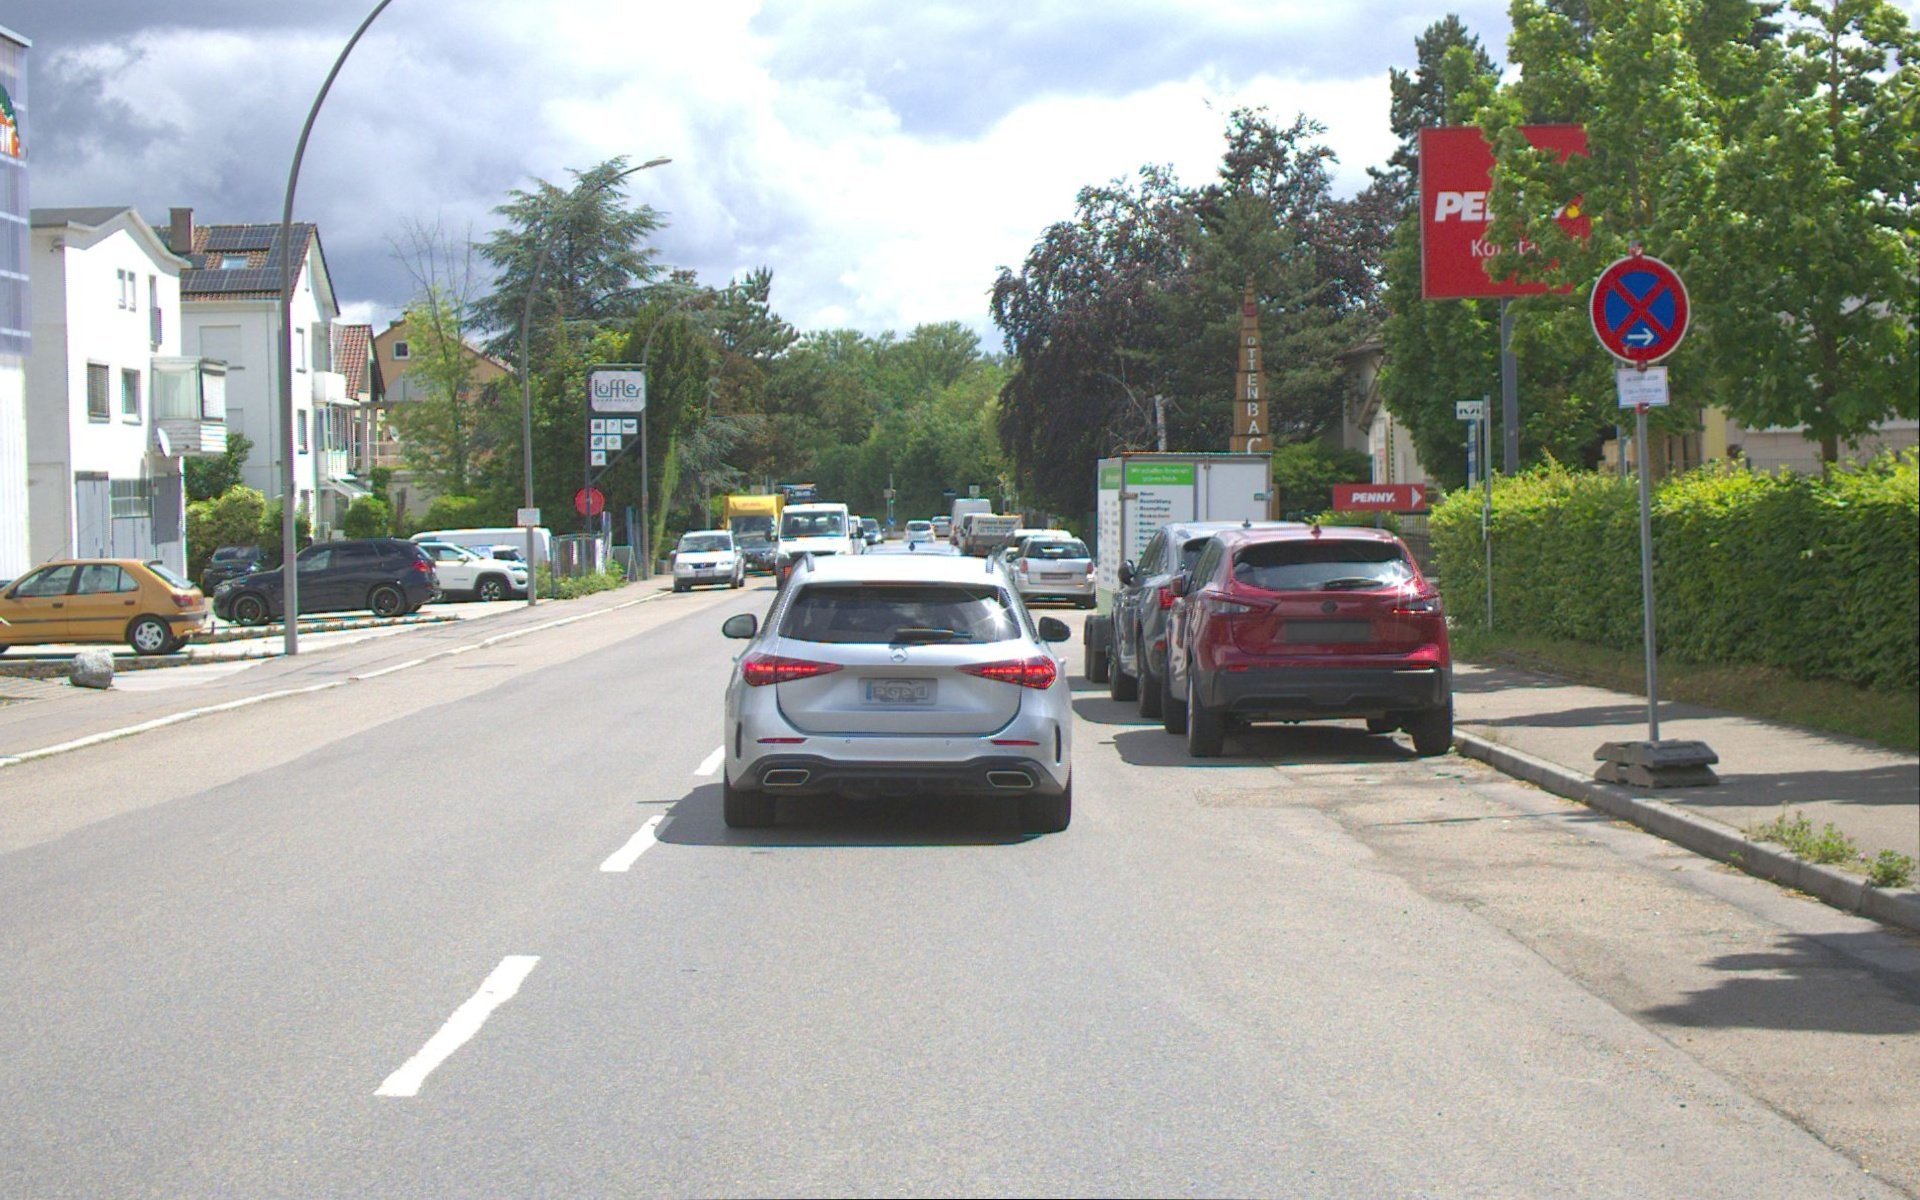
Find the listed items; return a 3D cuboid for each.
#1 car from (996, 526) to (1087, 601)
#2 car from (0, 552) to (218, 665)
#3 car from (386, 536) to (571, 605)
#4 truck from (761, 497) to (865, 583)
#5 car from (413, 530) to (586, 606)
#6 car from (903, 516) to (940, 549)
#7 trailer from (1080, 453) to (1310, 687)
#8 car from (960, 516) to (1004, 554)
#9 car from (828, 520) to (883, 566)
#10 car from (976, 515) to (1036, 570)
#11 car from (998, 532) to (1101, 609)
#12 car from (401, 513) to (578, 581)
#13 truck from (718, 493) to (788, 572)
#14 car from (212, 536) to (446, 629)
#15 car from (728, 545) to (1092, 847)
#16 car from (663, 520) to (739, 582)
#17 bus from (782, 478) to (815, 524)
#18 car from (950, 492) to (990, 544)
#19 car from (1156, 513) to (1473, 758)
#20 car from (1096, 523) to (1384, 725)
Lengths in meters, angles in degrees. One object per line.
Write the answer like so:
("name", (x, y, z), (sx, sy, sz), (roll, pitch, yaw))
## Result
("car", (1.820, -0.852, 77.824), (1.791, 1.546, 4.574), (-2, 2, -1))
("car", (-12.906, 0.100, 49.382), (4.149, 1.486, 1.826), (1, 2, -4))
("car", (-11.888, -0.723, 85.147), (4.279, 1.561, 1.991), (-1, -2, 0))
("truck", (-3.907, -1.652, 92.519), (2.319, 2.171, 6.449), (-2, 2, 1))
("car", (-12.078, -0.840, 90.375), (4.279, 1.830, 1.991), (-1, -2, -1))
("car", (-1.924, -3.335, 170.220), (1.755, 1.552, 4.001), (-1, 2, -1))
("trailer", (2.416, -0.354, 36.449), (1.941, 2.286, 4.446), (-1, 1, -2))
("car", (0.971, -2.955, 156.106), (1.784, 1.709, 4.317), (0, 1, -2))
("car", (-4.237, -2.351, 140.477), (1.993, 1.727, 4.549), (-2, 2, 1))
("car", (1.718, -2.216, 131.024), (2.144, 1.977, 5.261), (-1, 2, 0))
("car", (1.844, -0.645, 72.194), (1.791, 1.445, 4.364), (-2, 2, -3))
("car", (-12.026, -1.354, 88.122), (4.279, 1.561, 1.991), (-1, -2, -1))
("truck", (-7.745, -2.562, 129.158), (2.075, 2.804, 7.078), (-2, 2, 1))
("car", (-13.574, -0.395, 74.197), (4.626, 1.627, 2.198), (-4, 2, -4))
("car", (-0.339, 0.439, 19.054), (1.784, 1.479, 4.317), (0, 1, -2))
("car", (-7.185, -1.383, 95.564), (1.791, 1.598, 4.364), (-2, 2, -1))
("bus", (-12.037, -7.379, 255.400), (1.993, 3.352, 6.984), (1, 2, -6))
("car", (0.482, -3.999, 168.453), (1.784, 2.510, 4.317), (0, 1, -2))
("car", (2.502, 0.183, 25.246), (1.941, 1.566, 4.446), (-1, 2, 1))
("car", (2.371, 0.146, 30.262), (1.941, 1.566, 4.446), (-1, 2, -3))
